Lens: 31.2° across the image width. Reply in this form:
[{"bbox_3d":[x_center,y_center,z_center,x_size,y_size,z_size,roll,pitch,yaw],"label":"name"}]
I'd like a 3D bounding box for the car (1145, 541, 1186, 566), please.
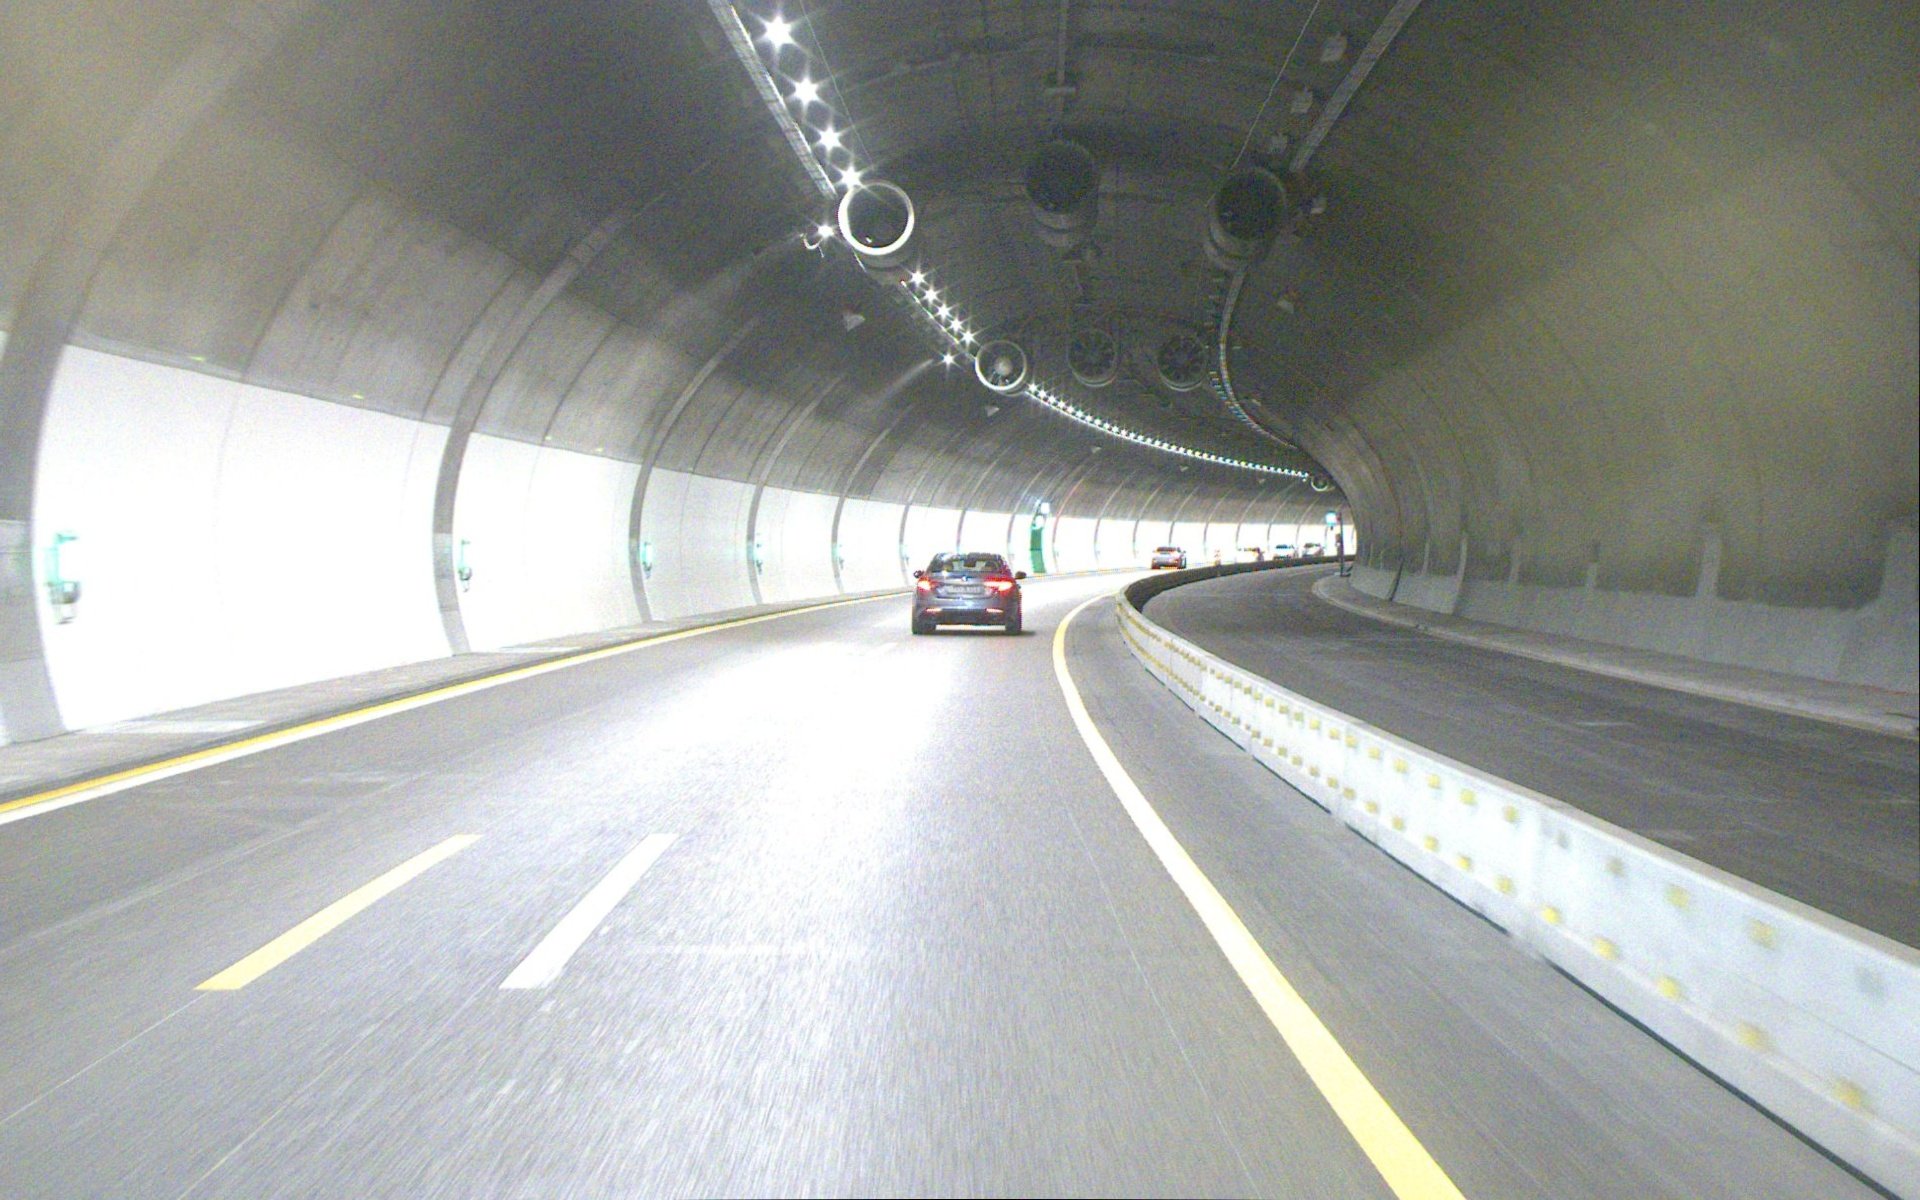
[{"bbox_3d":[12.707,-2.879,212.100,2.165,1.481,3.999,1,1,9],"label":"car"}]

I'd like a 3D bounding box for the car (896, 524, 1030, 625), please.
[{"bbox_3d":[0.089,-0.471,60.257,2.141,1.700,4.000,1,1,3],"label":"car"}]

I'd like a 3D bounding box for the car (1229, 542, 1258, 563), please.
[{"bbox_3d":[19.134,-3.214,232.041,1.595,1.328,3.749,1,1,9],"label":"car"}]
